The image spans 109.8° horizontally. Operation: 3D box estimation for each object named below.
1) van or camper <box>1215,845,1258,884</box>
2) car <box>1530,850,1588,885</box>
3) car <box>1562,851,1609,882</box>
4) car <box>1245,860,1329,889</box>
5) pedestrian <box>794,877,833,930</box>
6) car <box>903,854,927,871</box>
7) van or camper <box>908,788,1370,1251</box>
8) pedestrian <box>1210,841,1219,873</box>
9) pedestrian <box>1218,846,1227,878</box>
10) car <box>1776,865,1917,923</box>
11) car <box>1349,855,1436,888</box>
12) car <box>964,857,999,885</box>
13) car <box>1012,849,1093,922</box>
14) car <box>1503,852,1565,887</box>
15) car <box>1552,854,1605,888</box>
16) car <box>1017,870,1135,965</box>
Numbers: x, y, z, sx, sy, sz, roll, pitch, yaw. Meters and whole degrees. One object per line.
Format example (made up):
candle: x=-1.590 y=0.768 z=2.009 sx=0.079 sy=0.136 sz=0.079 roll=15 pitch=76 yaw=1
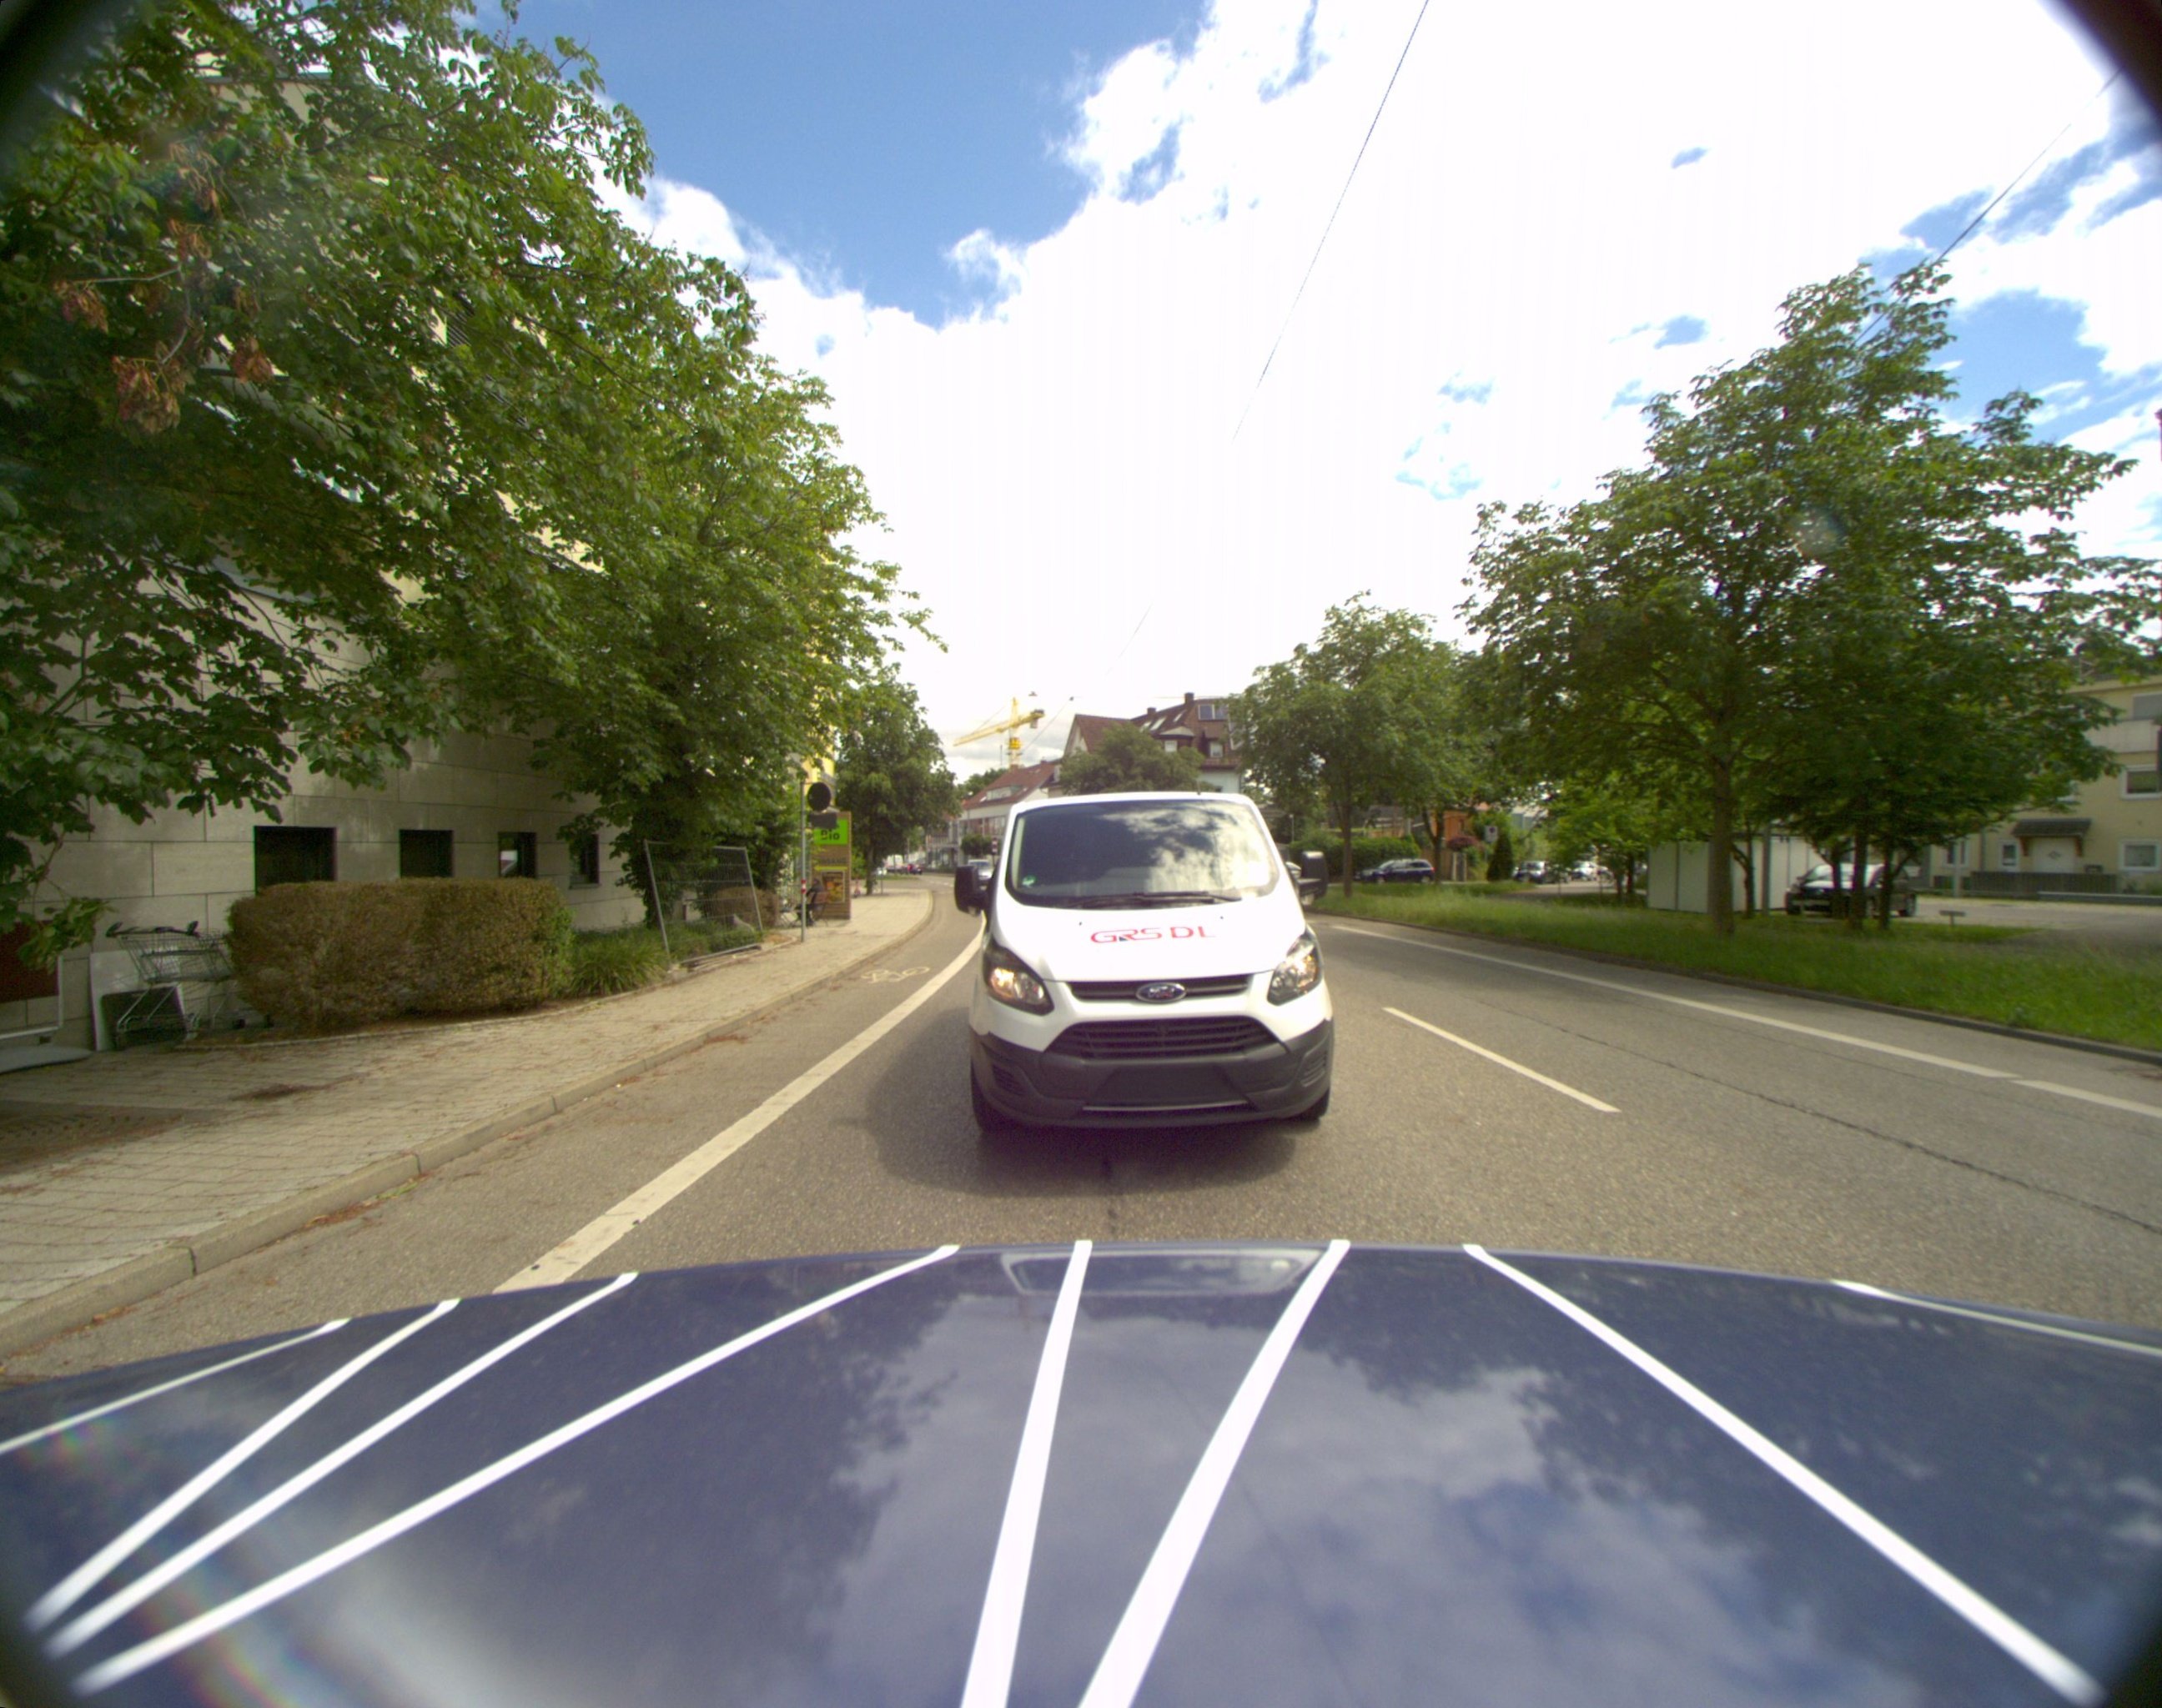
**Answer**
van or camper: x=9.098 y=0.587 z=44.631 sx=1.793 sy=2.077 sz=3.811 roll=-2 pitch=1 yaw=2
car: x=30.475 y=0.837 z=48.393 sx=4.007 sy=2.002 sz=1.994 roll=-3 pitch=1 yaw=-41
car: x=36.578 y=0.912 z=55.045 sx=4.007 sy=2.002 sz=1.893 roll=-3 pitch=1 yaw=-42
car: x=10.941 y=1.066 z=40.438 sx=4.046 sy=1.314 sz=1.534 roll=-3 pitch=1 yaw=-13
pedestrian: x=-6.778 y=1.248 z=19.283 sx=0.731 sy=1.293 sz=0.754 roll=0 pitch=1 yaw=0
car: x=-18.977 y=0.956 z=86.866 sx=1.744 sy=1.840 sz=3.991 roll=0 pitch=0 yaw=-26
van or camper: x=0.420 y=0.718 z=5.895 sx=2.026 sy=2.002 sz=5.104 roll=0 pitch=0 yaw=4
pedestrian: x=8.239 y=0.183 z=46.812 sx=0.425 sy=2.002 sz=0.363 roll=-2 pitch=1 yaw=1
pedestrian: x=8.704 y=0.500 z=46.798 sx=0.383 sy=1.979 sz=0.443 roll=-2 pitch=1 yaw=0
car: x=20.795 y=1.023 z=20.617 sx=4.007 sy=1.411 sz=1.789 roll=1 pitch=-1 yaw=-31
car: x=16.580 y=0.909 z=40.540 sx=3.976 sy=1.672 sz=1.717 roll=0 pitch=1 yaw=-3
car: x=-5.929 y=0.976 z=45.011 sx=1.695 sy=1.477 sz=3.995 roll=-3 pitch=1 yaw=-11
car: x=-0.919 y=0.801 z=21.834 sx=1.853 sy=1.805 sz=3.997 roll=-3 pitch=1 yaw=-8
car: x=27.269 y=0.925 z=45.737 sx=4.008 sy=2.002 sz=1.976 roll=0 pitch=0 yaw=-40
car: x=33.580 y=1.117 z=51.259 sx=4.007 sy=2.002 sz=1.994 roll=-3 pitch=1 yaw=-41
car: x=-0.160 y=1.033 z=13.810 sx=1.840 sy=1.382 sz=3.999 roll=0 pitch=0 yaw=-2
